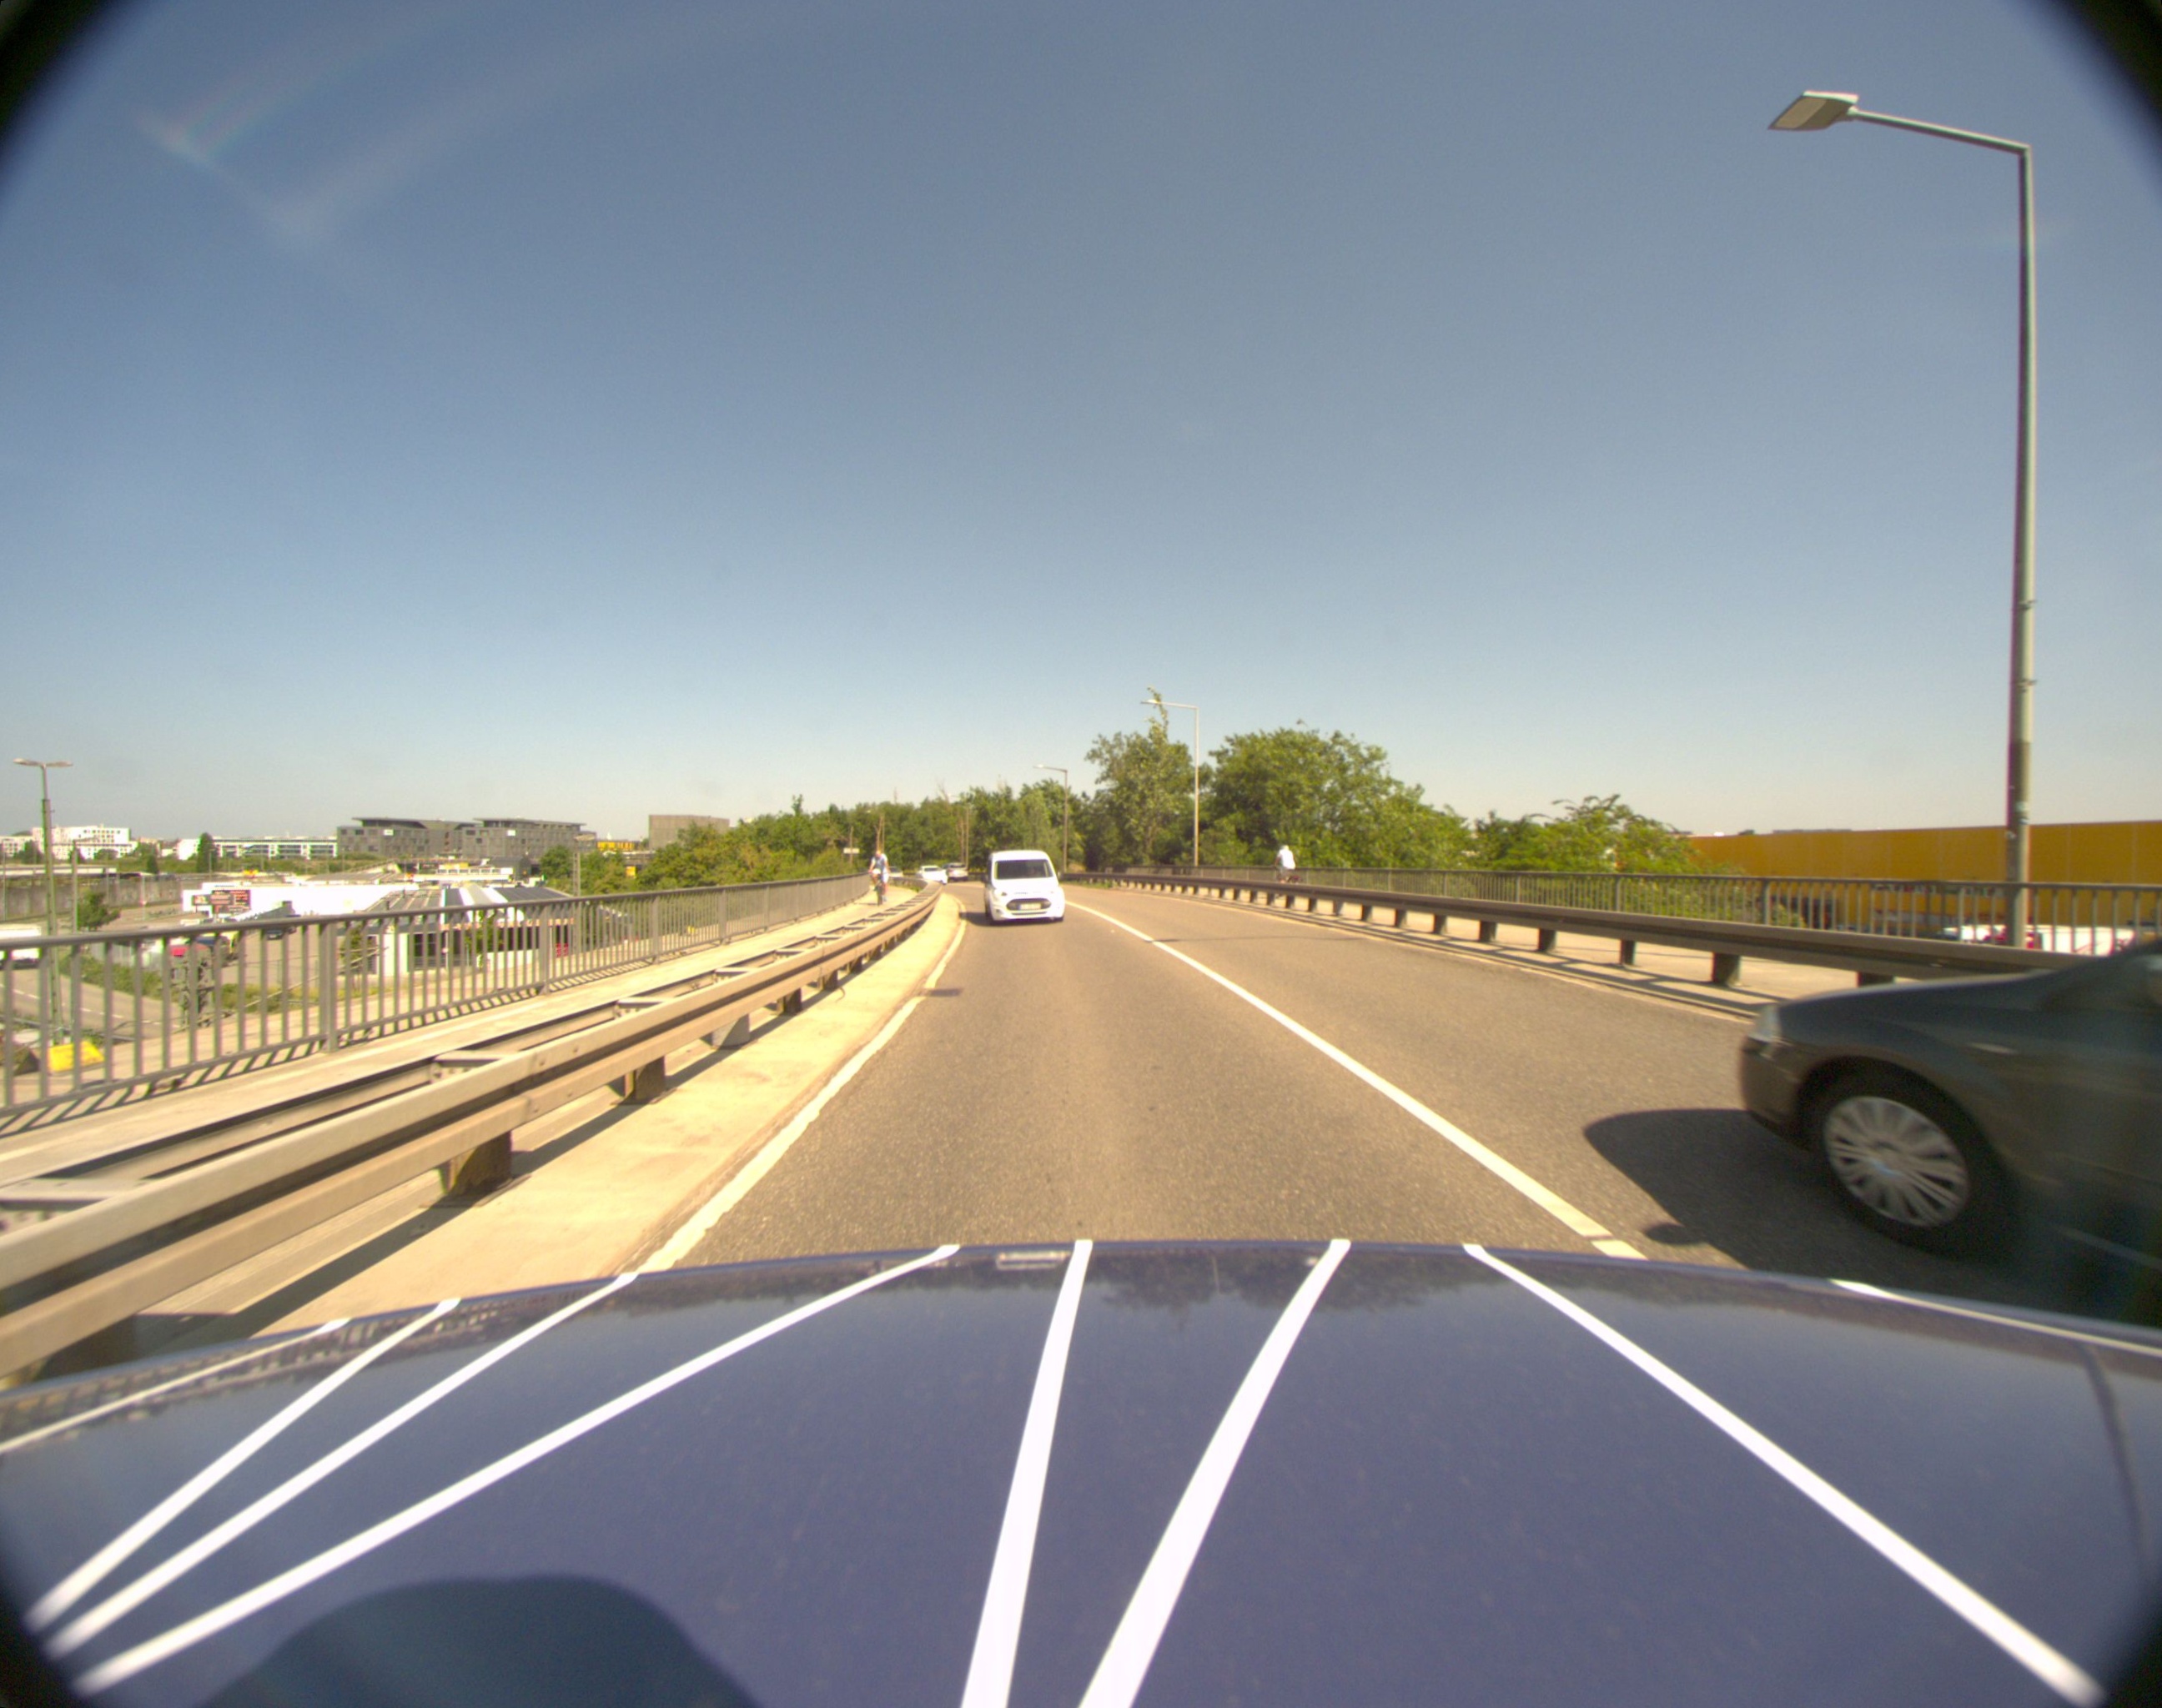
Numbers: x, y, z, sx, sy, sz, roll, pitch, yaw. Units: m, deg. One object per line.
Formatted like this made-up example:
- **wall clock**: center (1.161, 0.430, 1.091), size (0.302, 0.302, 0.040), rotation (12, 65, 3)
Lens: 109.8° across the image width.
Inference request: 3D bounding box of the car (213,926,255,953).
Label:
- **car**: center (-77.008, 7.757, 69.134), size (2.003, 1.861, 3.989), rotation (-8, 4, -42)

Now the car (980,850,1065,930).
- **car**: center (-1.588, 0.840, 19.762), size (1.898, 1.784, 4.445), rotation (-2, 0, -6)

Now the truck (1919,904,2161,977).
- **truck**: center (87.752, 7.680, 68.091), size (17.526, 5.644, 5.978), rotation (-1, 1, 6)

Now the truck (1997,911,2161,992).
- **truck**: center (87.091, 7.783, 61.529), size (17.526, 5.644, 5.791), rotation (-1, 1, 6)

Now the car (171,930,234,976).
- **car**: center (-68.519, 7.624, 59.387), size (2.311, 2.650, 5.362), rotation (-8, 6, -42)

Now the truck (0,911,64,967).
- **truck**: center (-91.519, 7.186, 65.678), size (13.233, 4.005, 3.831), rotation (-1, -2, 35)

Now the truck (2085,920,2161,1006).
- **truck**: center (86.520, 7.874, 55.234), size (17.526, 5.644, 5.978), rotation (-1, 1, 6)

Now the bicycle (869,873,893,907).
- **bicycle**: center (-6.595, 1.170, 25.082), size (0.705, 1.013, 1.844), rotation (2, -1, -13)

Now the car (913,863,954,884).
- **car**: center (-11.178, 1.456, 57.369), size (1.850, 1.479, 4.143), rotation (-2, 0, -28)

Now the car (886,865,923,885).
- **car**: center (-15.704, 1.915, 67.426), size (2.003, 1.575, 3.992), rotation (-2, -2, -31)

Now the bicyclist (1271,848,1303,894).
- **bicyclist**: center (6.470, 0.515, 23.935), size (0.610, 1.430, 1.077), rotation (1, 1, -6)

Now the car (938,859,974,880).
- **car**: center (-10.720, 1.281, 64.847), size (1.866, 1.673, 4.464), rotation (-3, 1, -24)

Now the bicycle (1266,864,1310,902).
- **bicycle**: center (6.473, 0.879, 23.868), size (0.614, 1.128, 2.148), rotation (1, 0, -5)

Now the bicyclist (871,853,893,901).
- **bicyclist**: center (-6.530, 0.745, 24.933), size (0.661, 1.511, 0.802), rotation (2, 0, -15)

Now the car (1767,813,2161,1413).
- **car**: center (3.801, 0.697, 1.068), size (1.737, 1.615, 4.303), rotation (1, -1, -1)
